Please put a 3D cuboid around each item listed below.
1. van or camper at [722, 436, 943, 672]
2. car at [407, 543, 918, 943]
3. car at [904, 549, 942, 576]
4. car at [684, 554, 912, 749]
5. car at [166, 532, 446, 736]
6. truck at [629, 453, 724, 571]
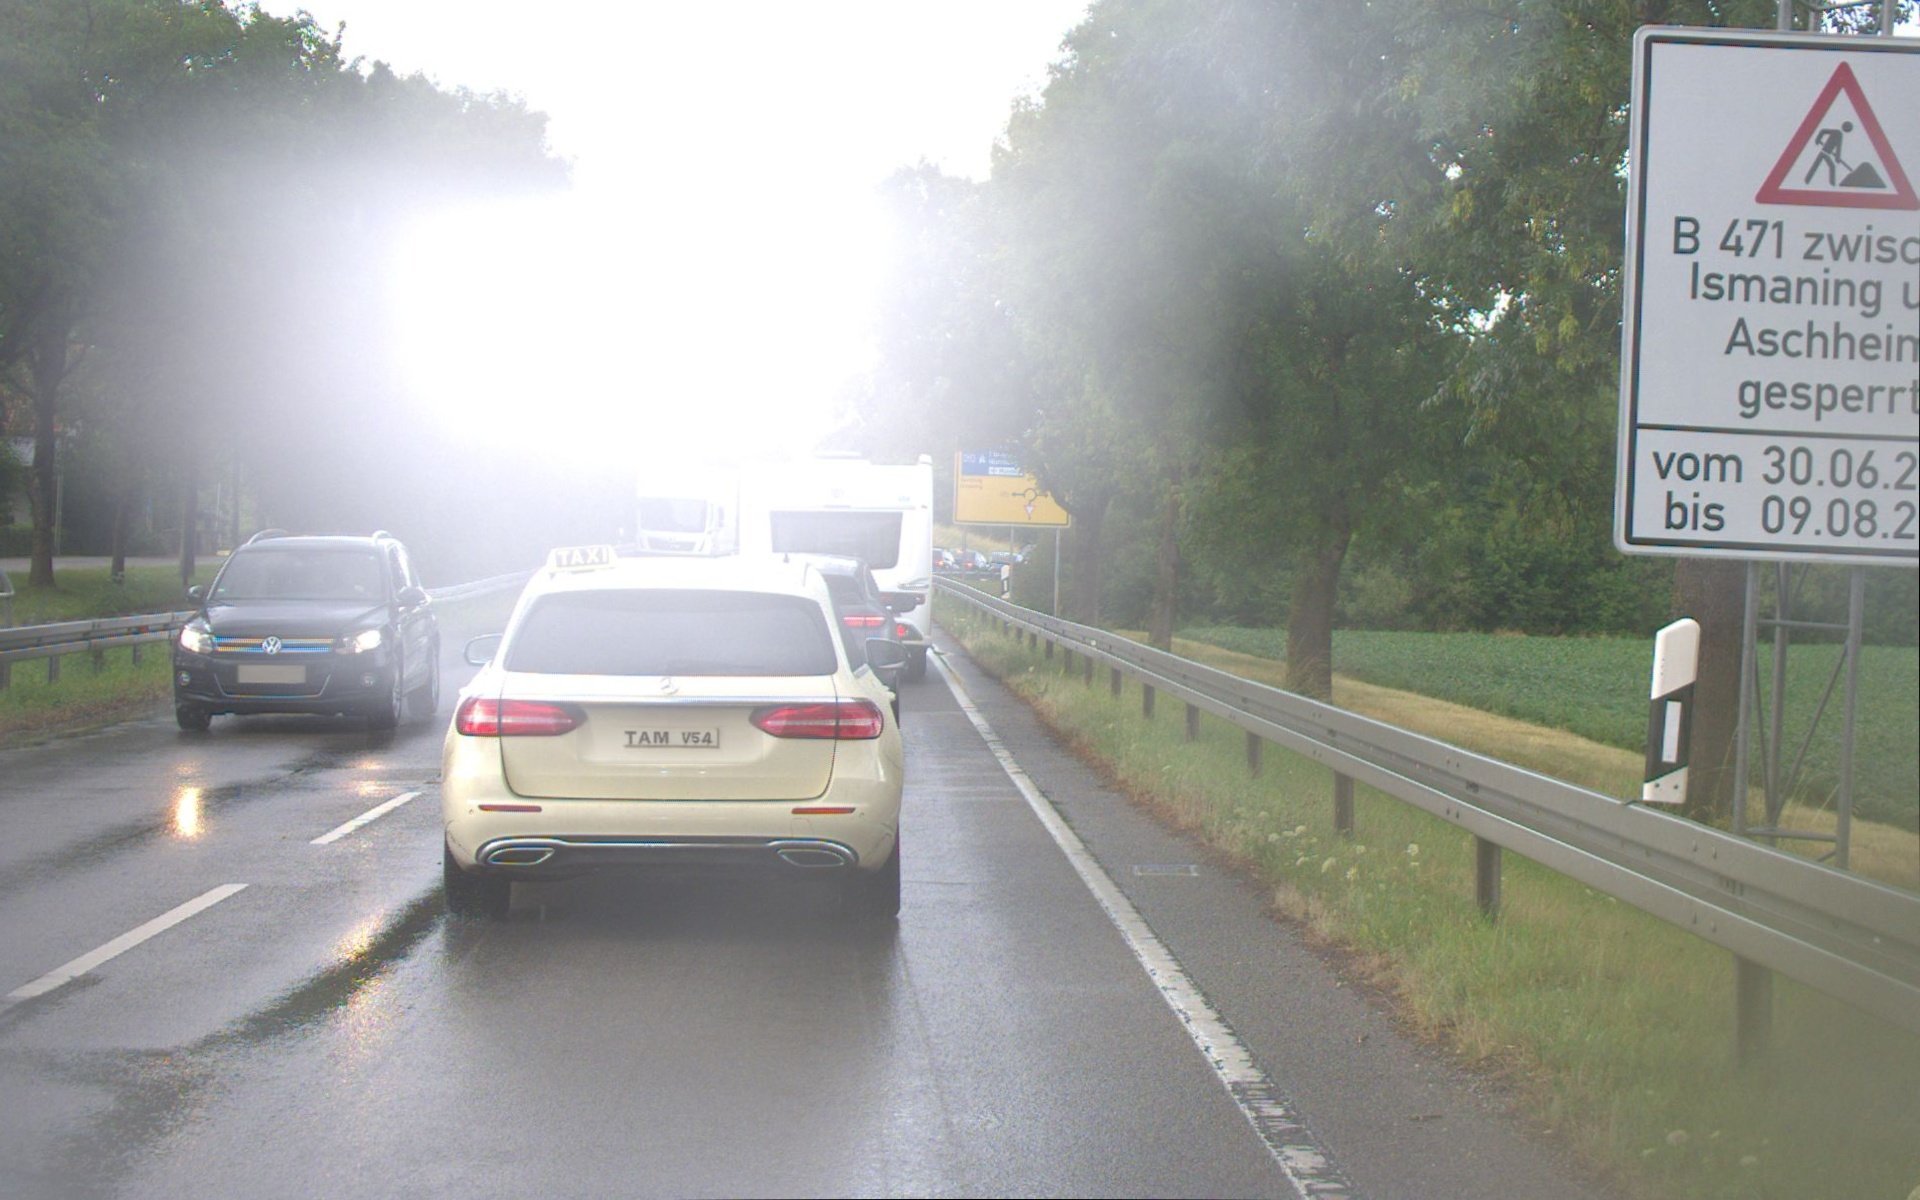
[{"bbox_3d":[-1.493,-0.575,42.411,2.489,2.676,5.700,1,1,0],"label":"van or camper"},{"bbox_3d":[-1.127,0.498,14.738,1.865,1.471,4.000,0,1,0],"label":"car"},{"bbox_3d":[-1.574,-1.581,145.896,1.551,1.114,4.000,1,0,-1],"label":"car"},{"bbox_3d":[-1.233,0.357,27.596,1.664,1.426,4.000,0,1,0],"label":"car"},{"bbox_3d":[-5.498,0.234,29.330,1.764,1.614,4.001,0,1,-2],"label":"car"},{"bbox_3d":[-8.667,-2.679,105.866,2.576,3.440,9.557,0,1,-3],"label":"truck"}]
